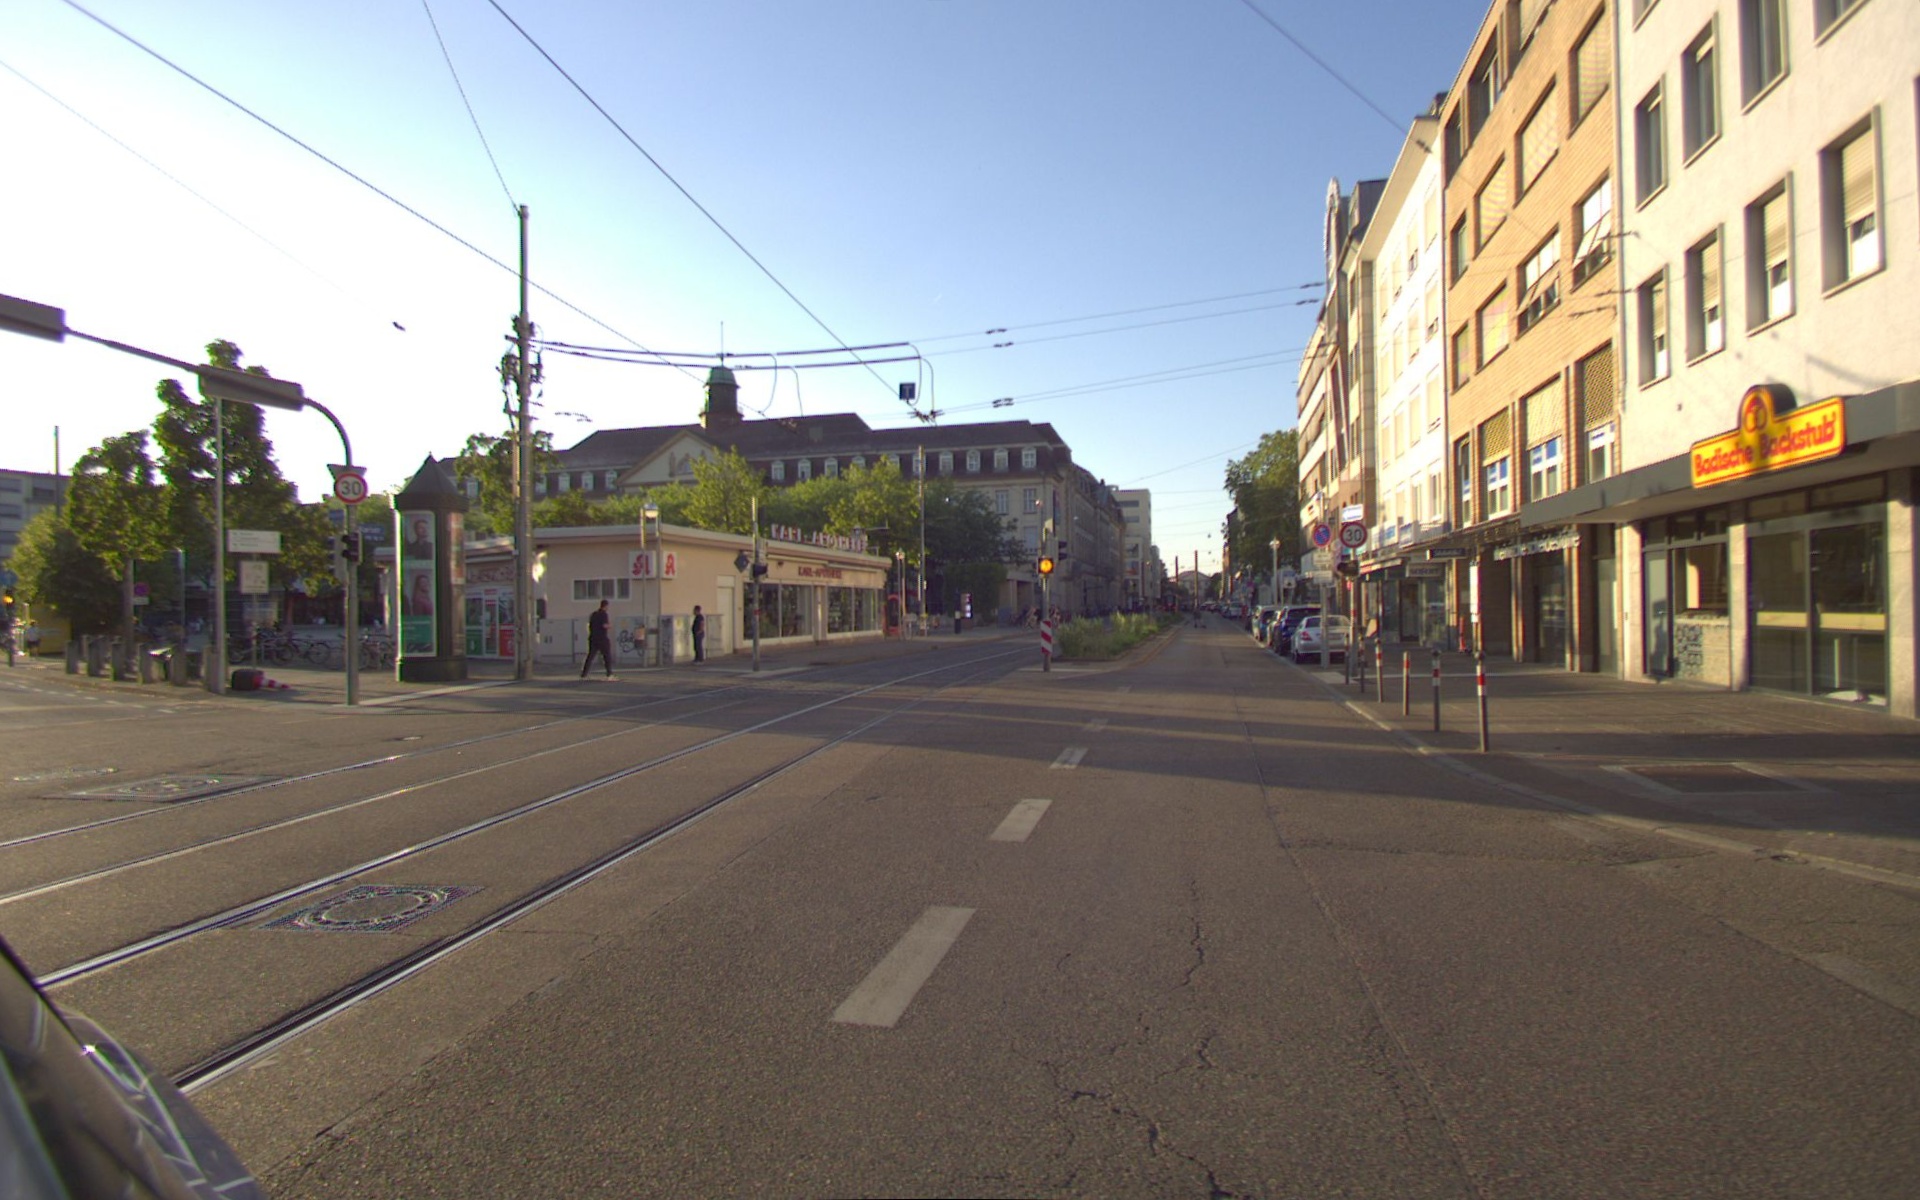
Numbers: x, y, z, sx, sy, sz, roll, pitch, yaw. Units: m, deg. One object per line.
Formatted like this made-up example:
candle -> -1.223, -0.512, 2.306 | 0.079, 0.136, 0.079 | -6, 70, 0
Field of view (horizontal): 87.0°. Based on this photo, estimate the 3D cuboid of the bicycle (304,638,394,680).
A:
bicycle -> -18.219, 1.730, 30.227 | 0.777, 1.096, 2.198 | 0, 1, 32

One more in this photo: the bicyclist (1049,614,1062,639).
bicyclist -> 6.653, 1.833, 70.516 | 0.644, 1.724, 0.623 | -2, 1, -33

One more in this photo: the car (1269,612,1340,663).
car -> 11.316, 1.179, 33.489 | 2.032, 1.487, 4.583 | -2, -1, 17

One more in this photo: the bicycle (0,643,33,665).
bicycle -> -51.576, 2.960, 54.527 | 2.367, 1.079, 0.673 | -2, 2, -45

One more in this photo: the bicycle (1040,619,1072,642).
bicycle -> 6.701, 2.116, 70.547 | 2.378, 1.497, 0.617 | -2, 1, -33

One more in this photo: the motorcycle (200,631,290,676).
motorcycle -> -24.687, 1.833, 34.975 | 0.779, 1.376, 2.418 | -2, 0, 43

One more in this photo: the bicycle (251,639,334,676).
bicycle -> -21.920, 1.875, 33.271 | 0.778, 1.096, 2.154 | 0, -1, 38

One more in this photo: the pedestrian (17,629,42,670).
pedestrian -> -40.654, 2.152, 44.213 | 0.768, 1.689, 0.907 | -2, 1, -44

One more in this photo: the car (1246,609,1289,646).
car -> 15.942, 1.405, 52.544 | 2.031, 1.750, 4.584 | -2, -1, 17

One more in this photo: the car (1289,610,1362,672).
car -> 10.357, 1.118, 28.933 | 1.785, 1.587, 4.275 | -2, -1, 18

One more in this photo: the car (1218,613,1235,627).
car -> 35.291, 2.612, 134.049 | 2.031, 1.750, 4.584 | -2, -1, 17

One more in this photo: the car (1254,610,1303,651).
car -> 14.847, 1.384, 47.398 | 2.031, 1.750, 4.584 | -2, -1, 17

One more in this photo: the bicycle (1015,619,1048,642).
bicycle -> 5.127, 2.149, 71.992 | 2.458, 1.497, 0.595 | -2, 1, -33

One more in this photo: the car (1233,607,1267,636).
car -> 19.111, 1.392, 66.631 | 2.031, 1.750, 4.584 | -2, -1, 17

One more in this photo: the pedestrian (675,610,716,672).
pedestrian -> -7.452, 1.154, 28.527 | 0.895, 1.689, 0.779 | -1, 1, 3

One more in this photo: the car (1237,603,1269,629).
car -> 20.913, 1.134, 72.234 | 2.031, 1.750, 4.584 | -2, -1, 17

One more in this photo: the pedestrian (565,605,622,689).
pedestrian -> -8.150, 1.028, 22.530 | 0.869, 1.798, 0.906 | -1, 1, 3

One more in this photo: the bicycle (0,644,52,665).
bicycle -> -49.266, 2.851, 53.077 | 2.367, 0.966, 0.673 | -2, 2, -45

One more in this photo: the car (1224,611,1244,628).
car -> 29.793, 2.092, 109.991 | 2.031, 1.750, 4.584 | -2, -1, 17

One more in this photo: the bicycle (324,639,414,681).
bicycle -> -17.274, 1.722, 29.619 | 0.777, 1.096, 2.173 | 0, 0, 32

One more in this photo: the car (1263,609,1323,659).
car -> 13.017, 1.286, 39.777 | 2.031, 1.750, 4.584 | -2, -1, 17

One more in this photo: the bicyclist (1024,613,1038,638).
bicyclist -> 5.079, 1.825, 71.961 | 0.776, 1.733, 0.595 | -2, 1, -33

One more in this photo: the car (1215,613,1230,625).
car -> 41.237, 3.022, 158.811 | 2.031, 1.750, 4.584 | -2, -1, 17

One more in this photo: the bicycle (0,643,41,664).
bicycle -> -50.259, 2.851, 53.528 | 2.367, 0.966, 0.673 | -2, 2, -45
